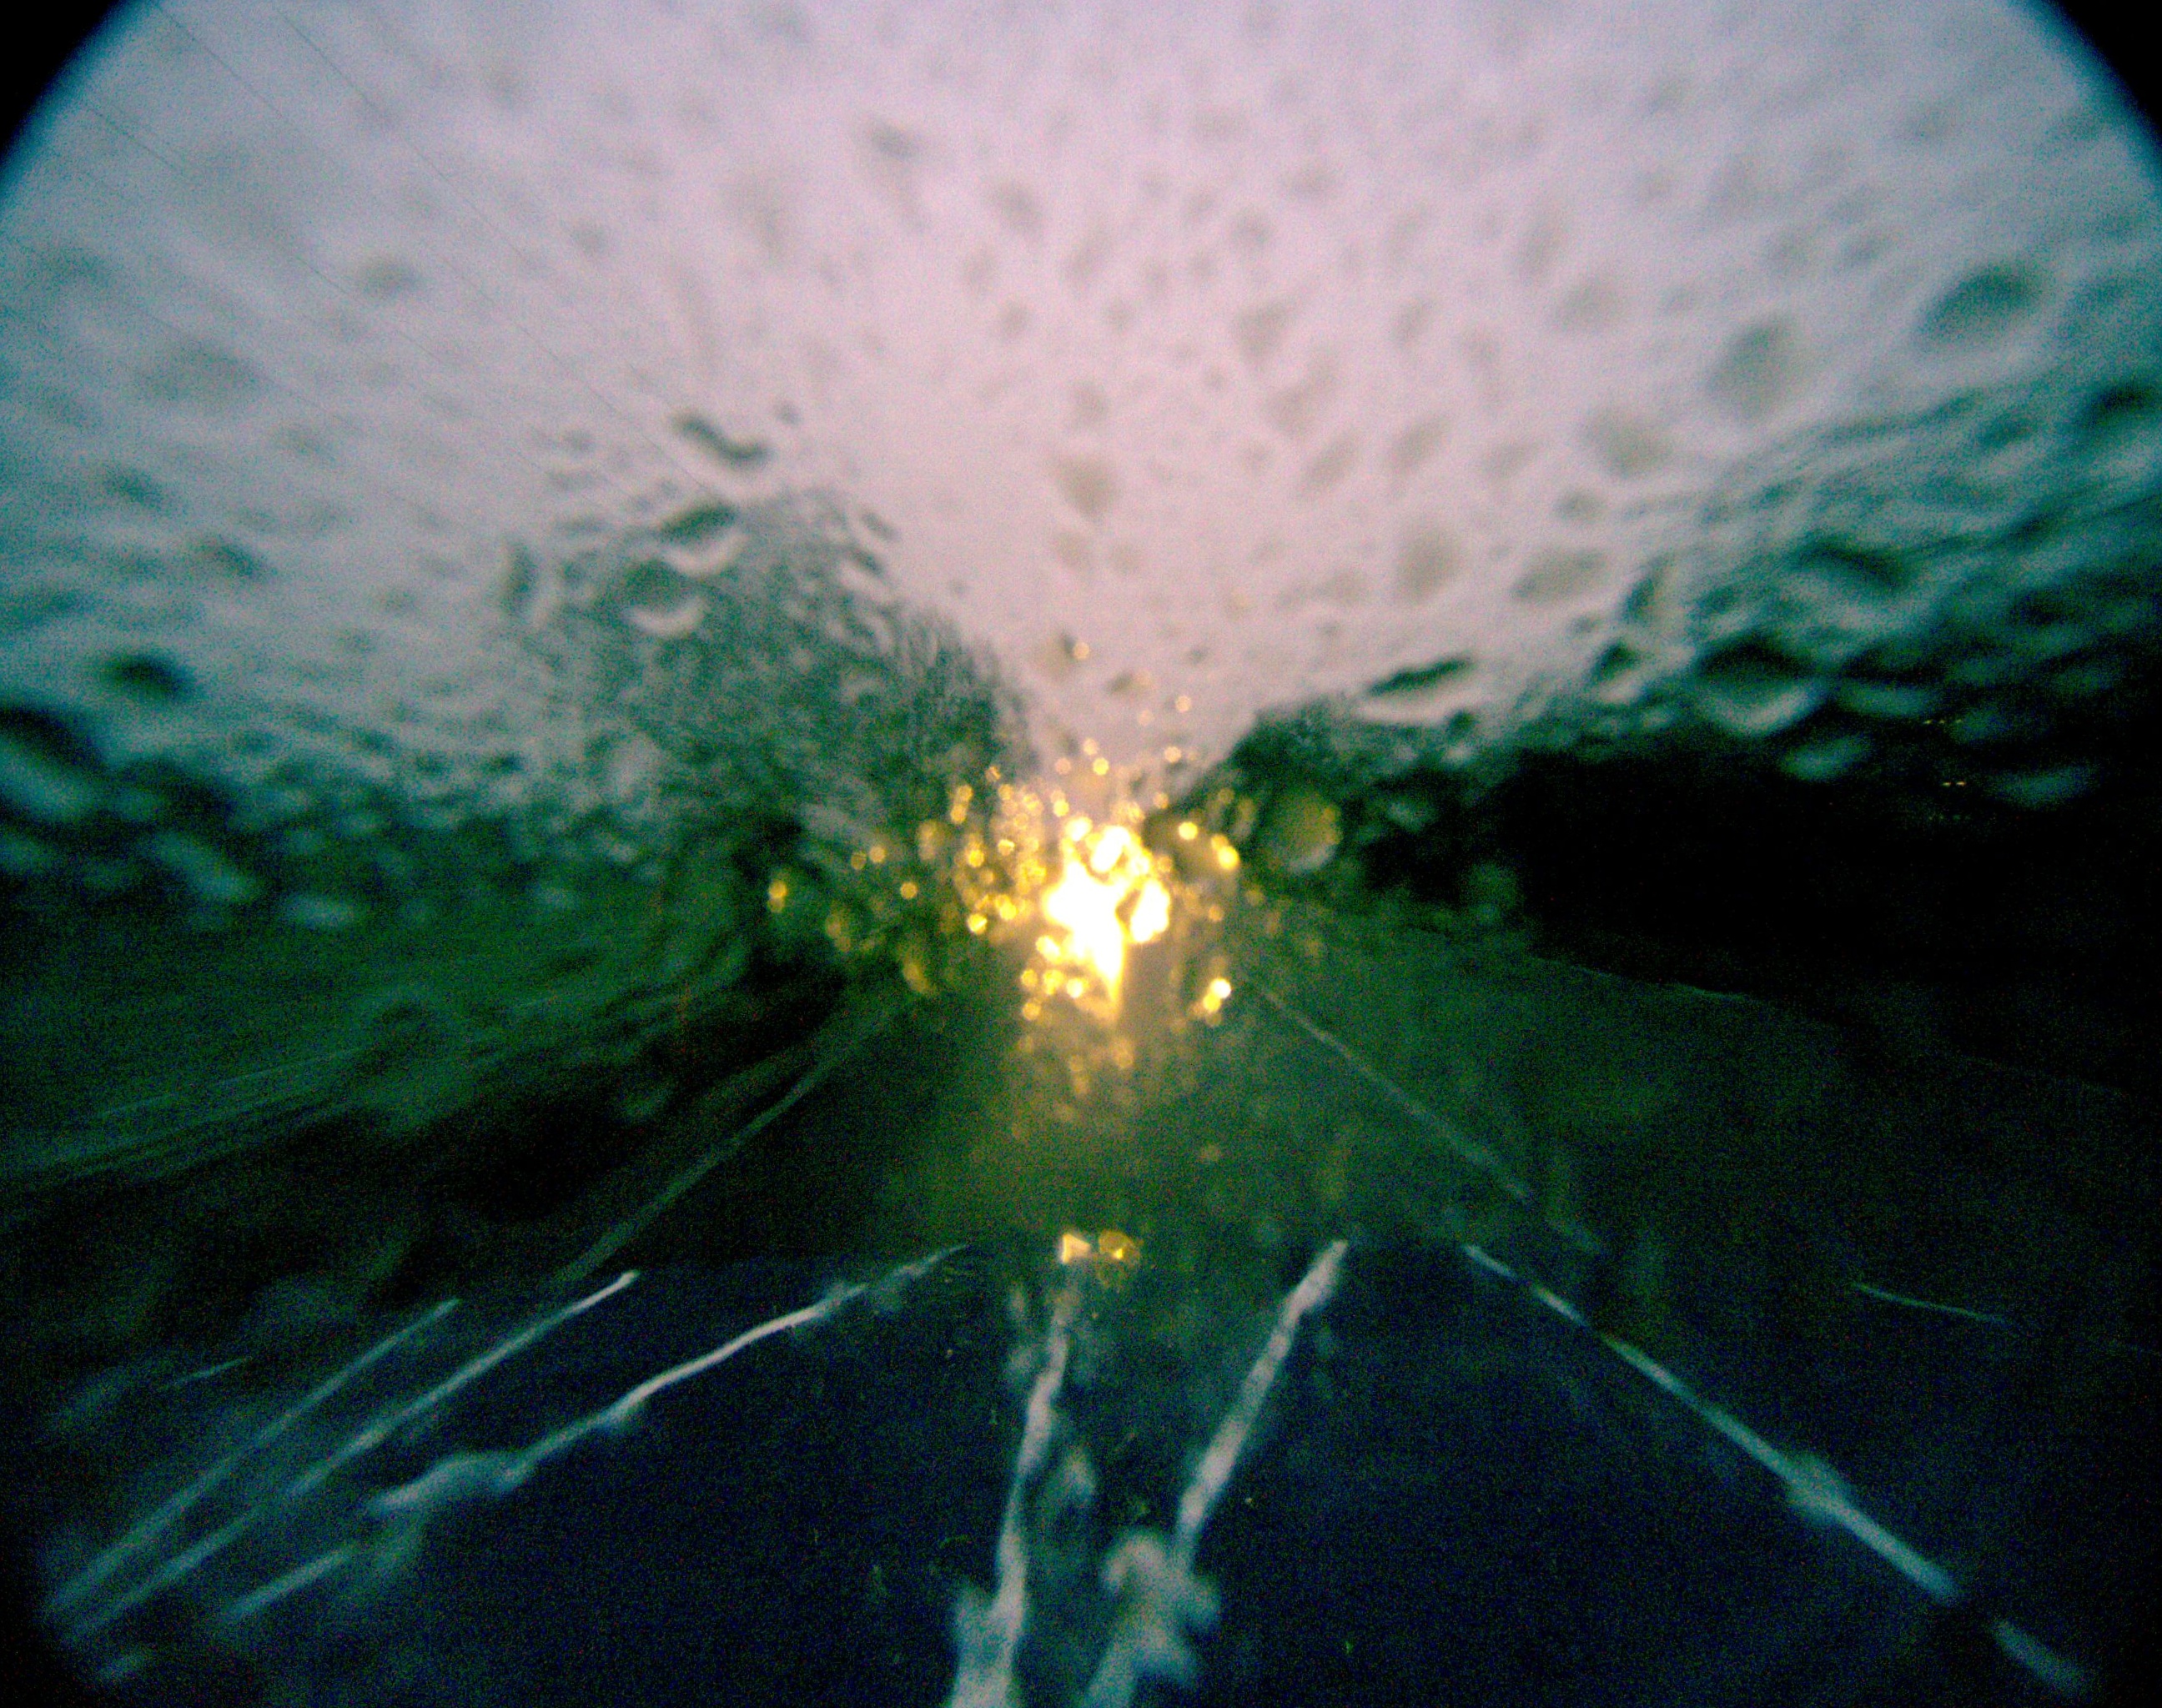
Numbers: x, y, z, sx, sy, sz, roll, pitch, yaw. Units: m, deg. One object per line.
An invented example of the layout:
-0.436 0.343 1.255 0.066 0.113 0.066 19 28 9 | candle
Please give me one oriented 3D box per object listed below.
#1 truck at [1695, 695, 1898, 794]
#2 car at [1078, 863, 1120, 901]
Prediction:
26.708 -3.969 28.749 2.456 2.870 5.584 -1 0 1 | truck
0.854 1.309 37.111 1.910 1.653 4.000 -1 0 1 | car
